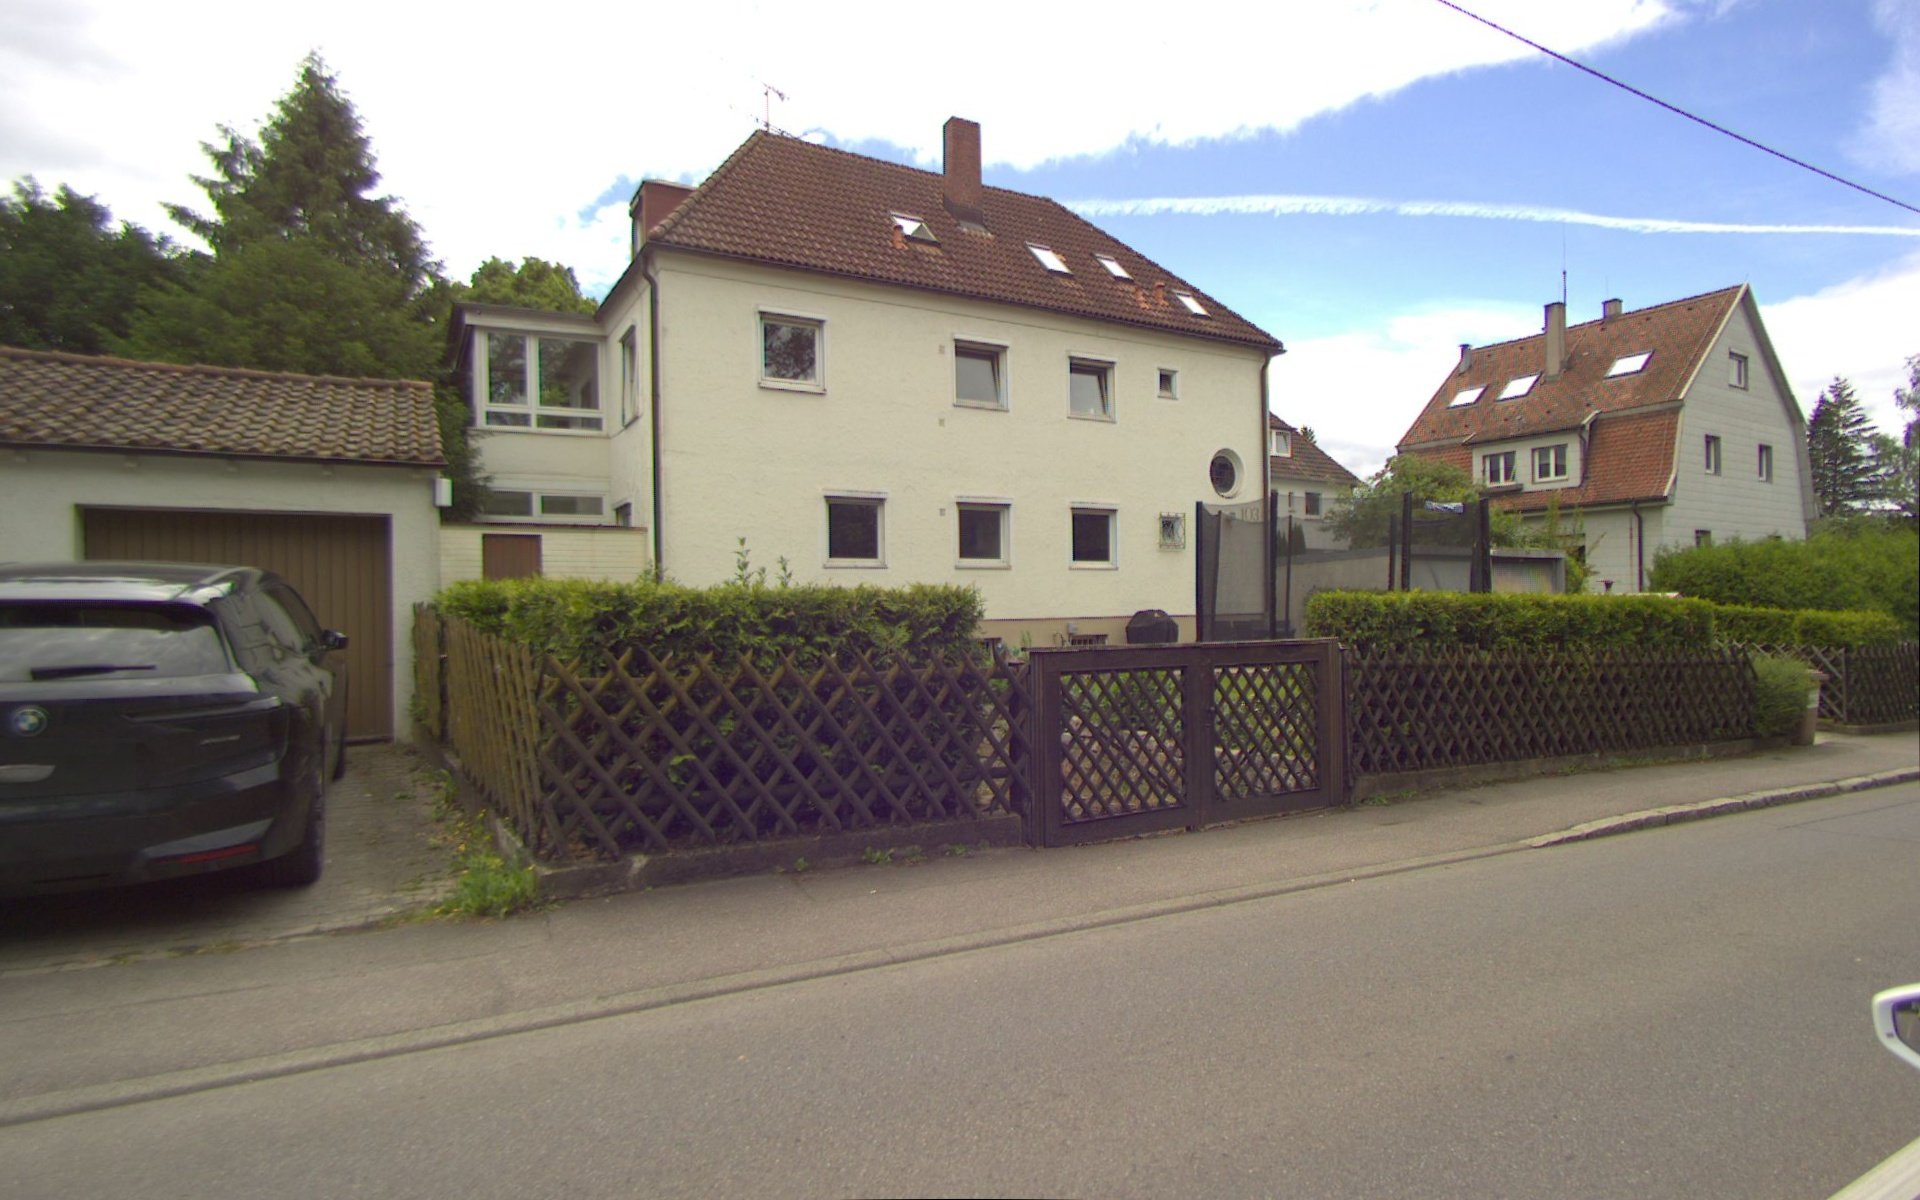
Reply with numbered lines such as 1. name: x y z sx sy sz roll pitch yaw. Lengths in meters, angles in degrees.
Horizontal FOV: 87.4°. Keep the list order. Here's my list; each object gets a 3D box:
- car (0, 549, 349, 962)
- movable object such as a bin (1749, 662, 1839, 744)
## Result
1. car: -4.931 0.580 6.210 1.861 1.692 4.647 1 1 -30
2. movable object such as a bin: 10.355 1.266 12.483 0.551 0.925 0.632 1 2 -17
